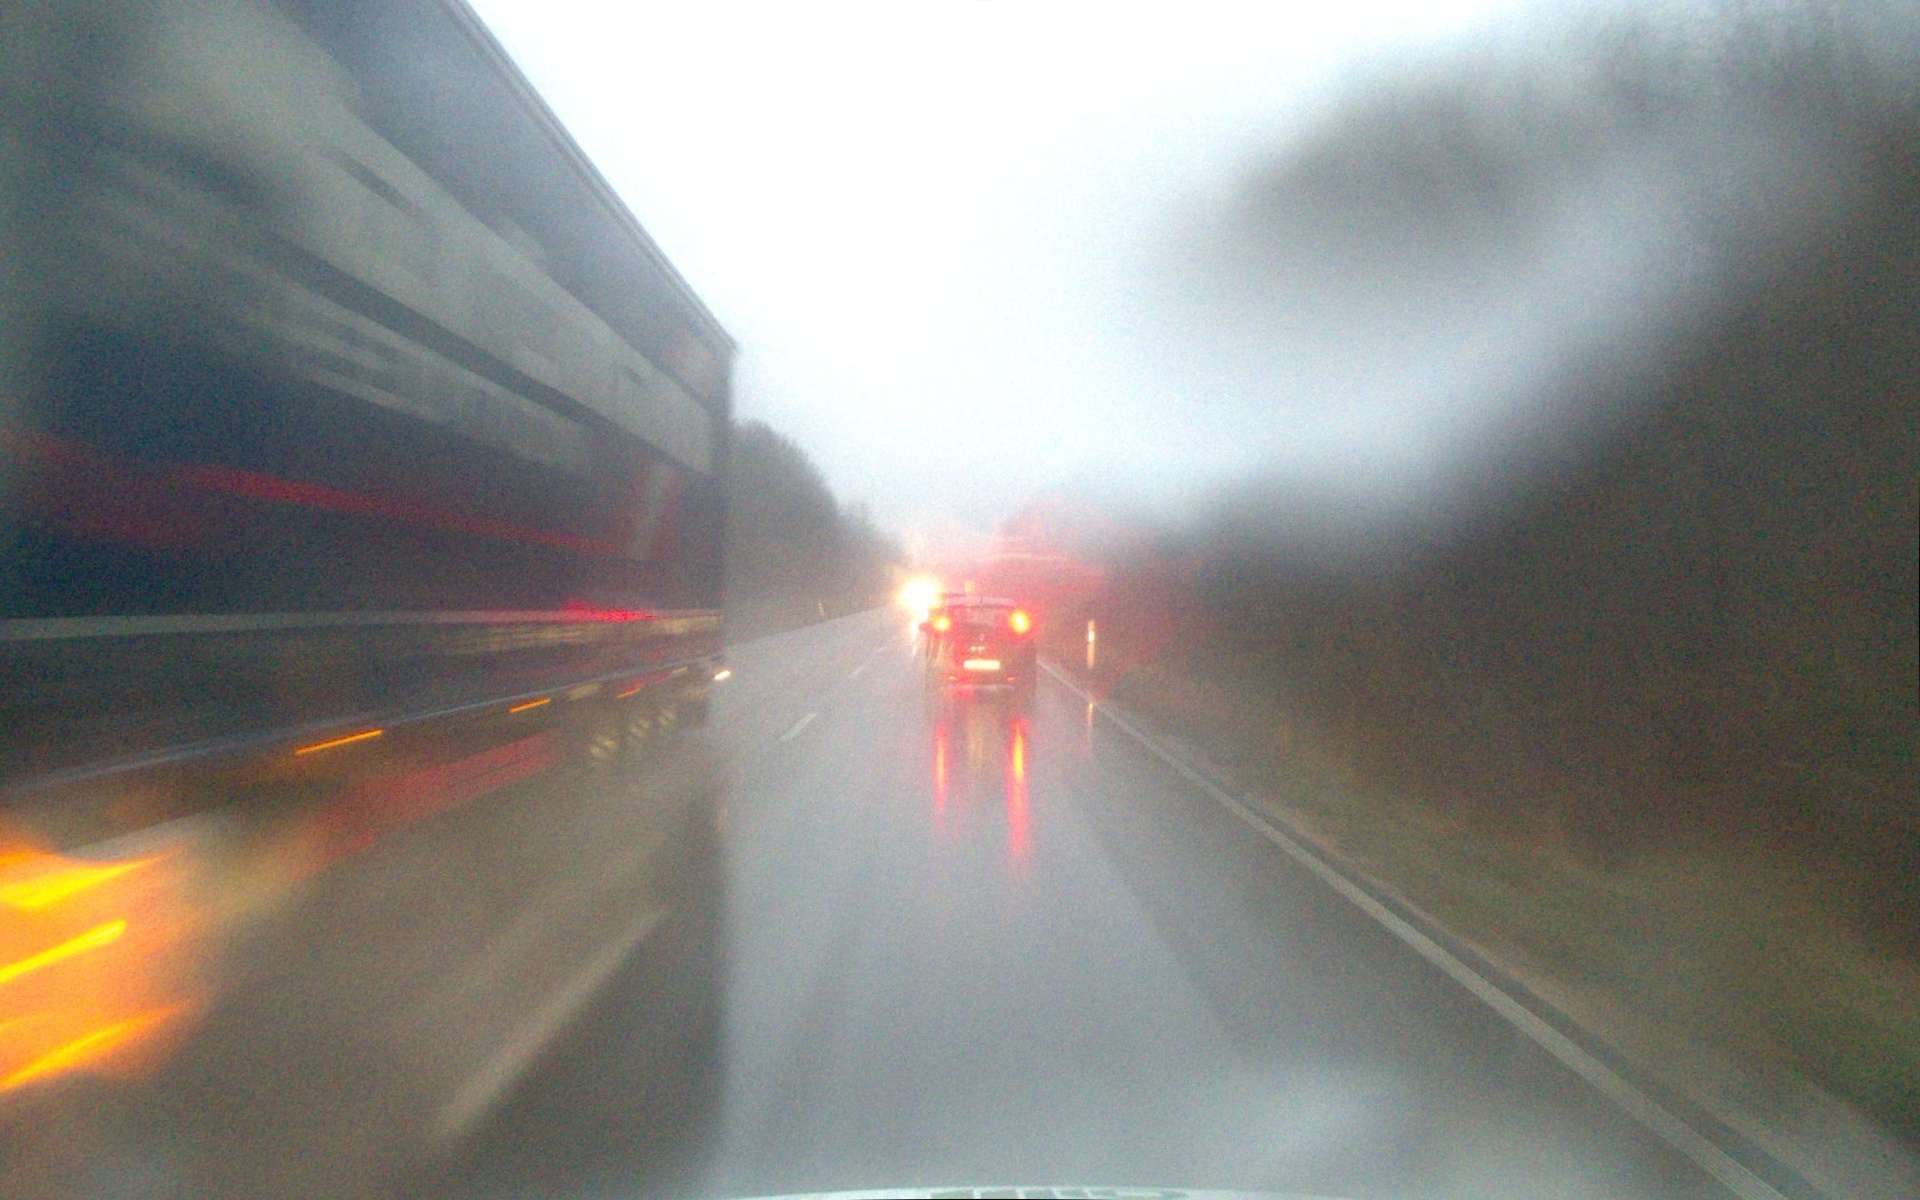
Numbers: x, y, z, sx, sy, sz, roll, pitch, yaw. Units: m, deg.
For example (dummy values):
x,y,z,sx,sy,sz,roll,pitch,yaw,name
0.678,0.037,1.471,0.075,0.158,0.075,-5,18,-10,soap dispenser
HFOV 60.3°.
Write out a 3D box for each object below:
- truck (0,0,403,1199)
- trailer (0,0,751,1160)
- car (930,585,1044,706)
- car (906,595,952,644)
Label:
x,y,z,sx,sy,sz,roll,pitch,yaw,name
-3.350,-0.631,3.306,2.588,4.493,5.553,1,0,-1,truck
-3.424,-0.661,10.926,2.616,4.536,12.240,1,0,-1,trailer
0.409,0.643,25.365,1.614,1.701,3.514,1,0,1,car
-1.171,0.733,64.034,1.698,1.810,3.999,1,0,-1,car
